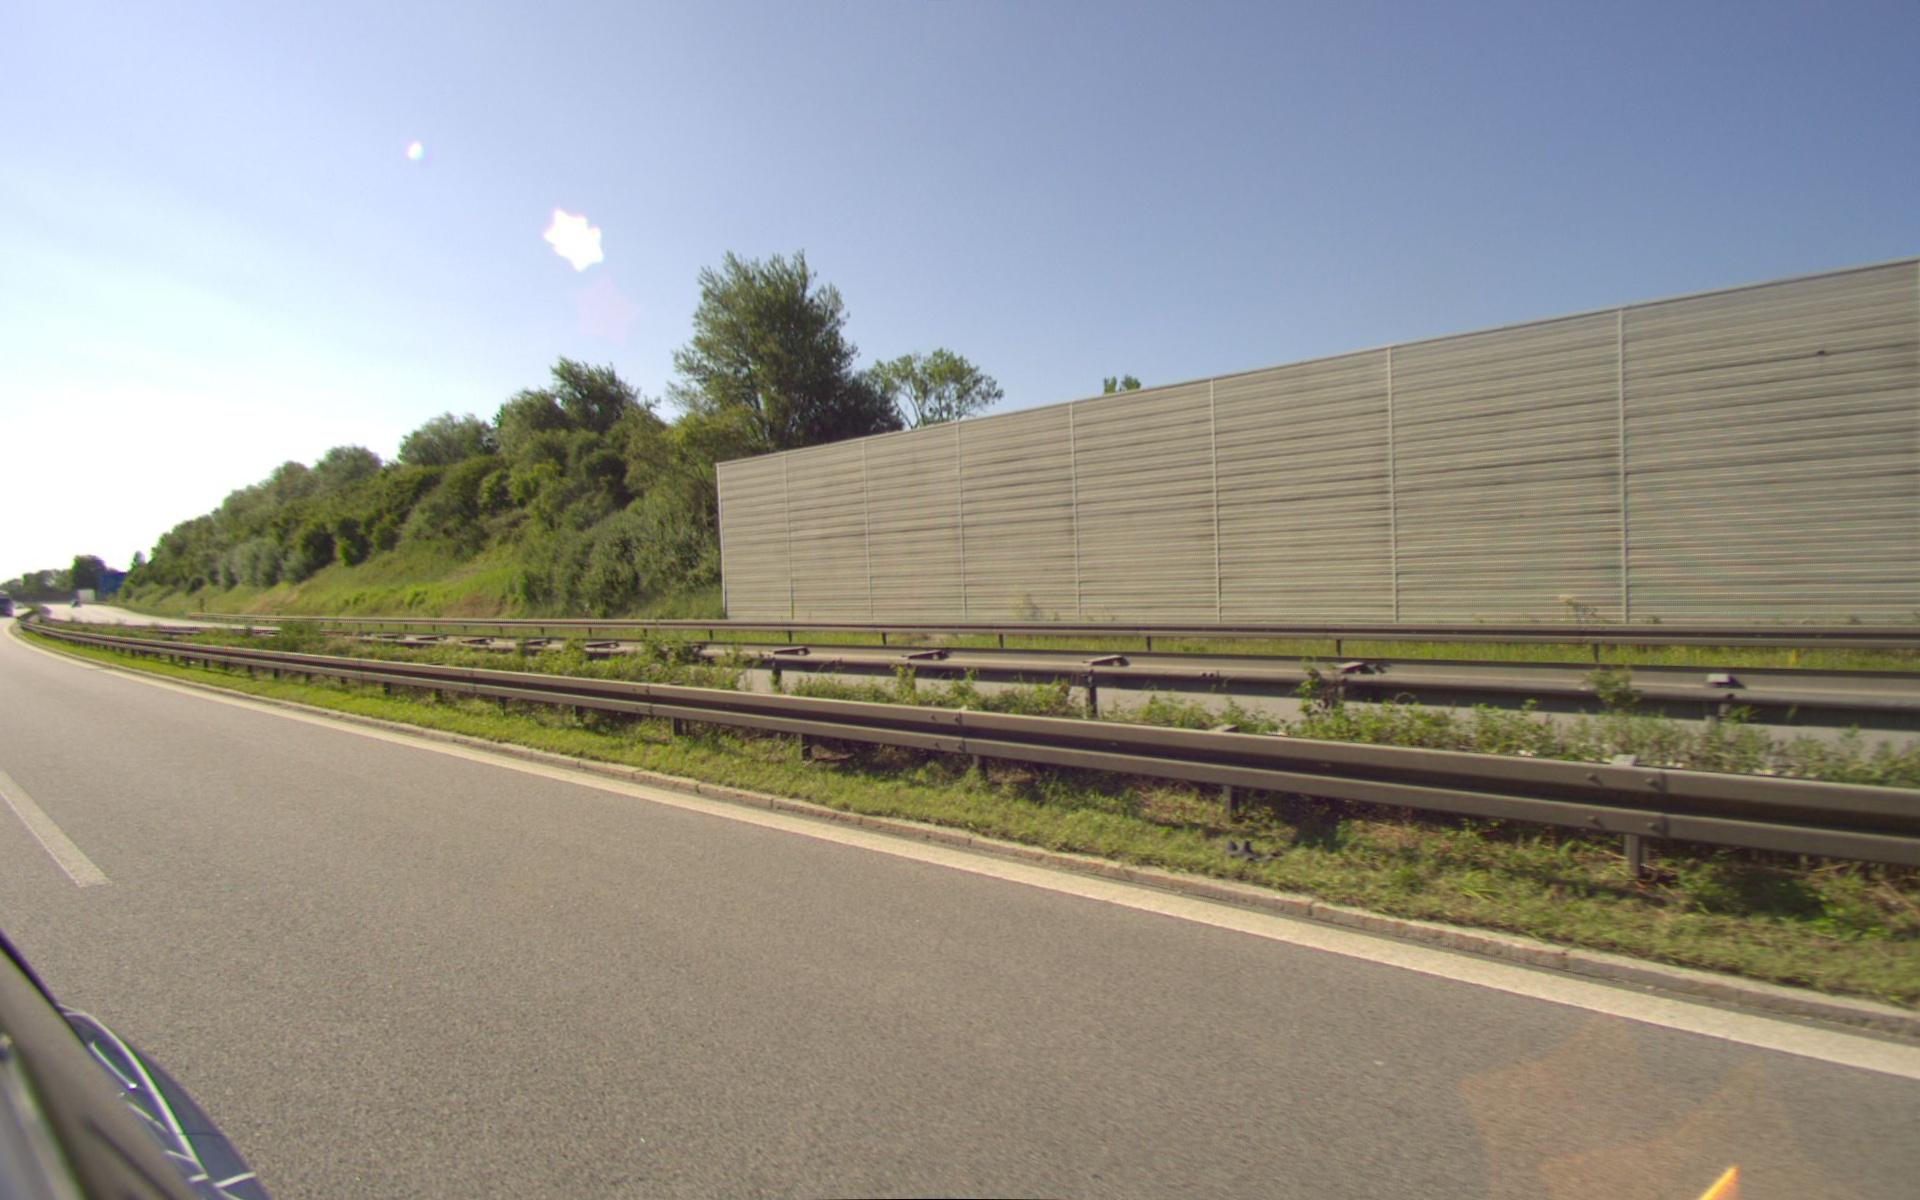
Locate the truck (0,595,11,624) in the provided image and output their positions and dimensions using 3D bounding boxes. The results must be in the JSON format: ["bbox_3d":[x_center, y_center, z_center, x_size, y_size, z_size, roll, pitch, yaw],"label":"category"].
[{"bbox_3d":[-146.733,1.546,153.306,12.083,4.243,3.389,-1,0,42],"label":"truck"}]
